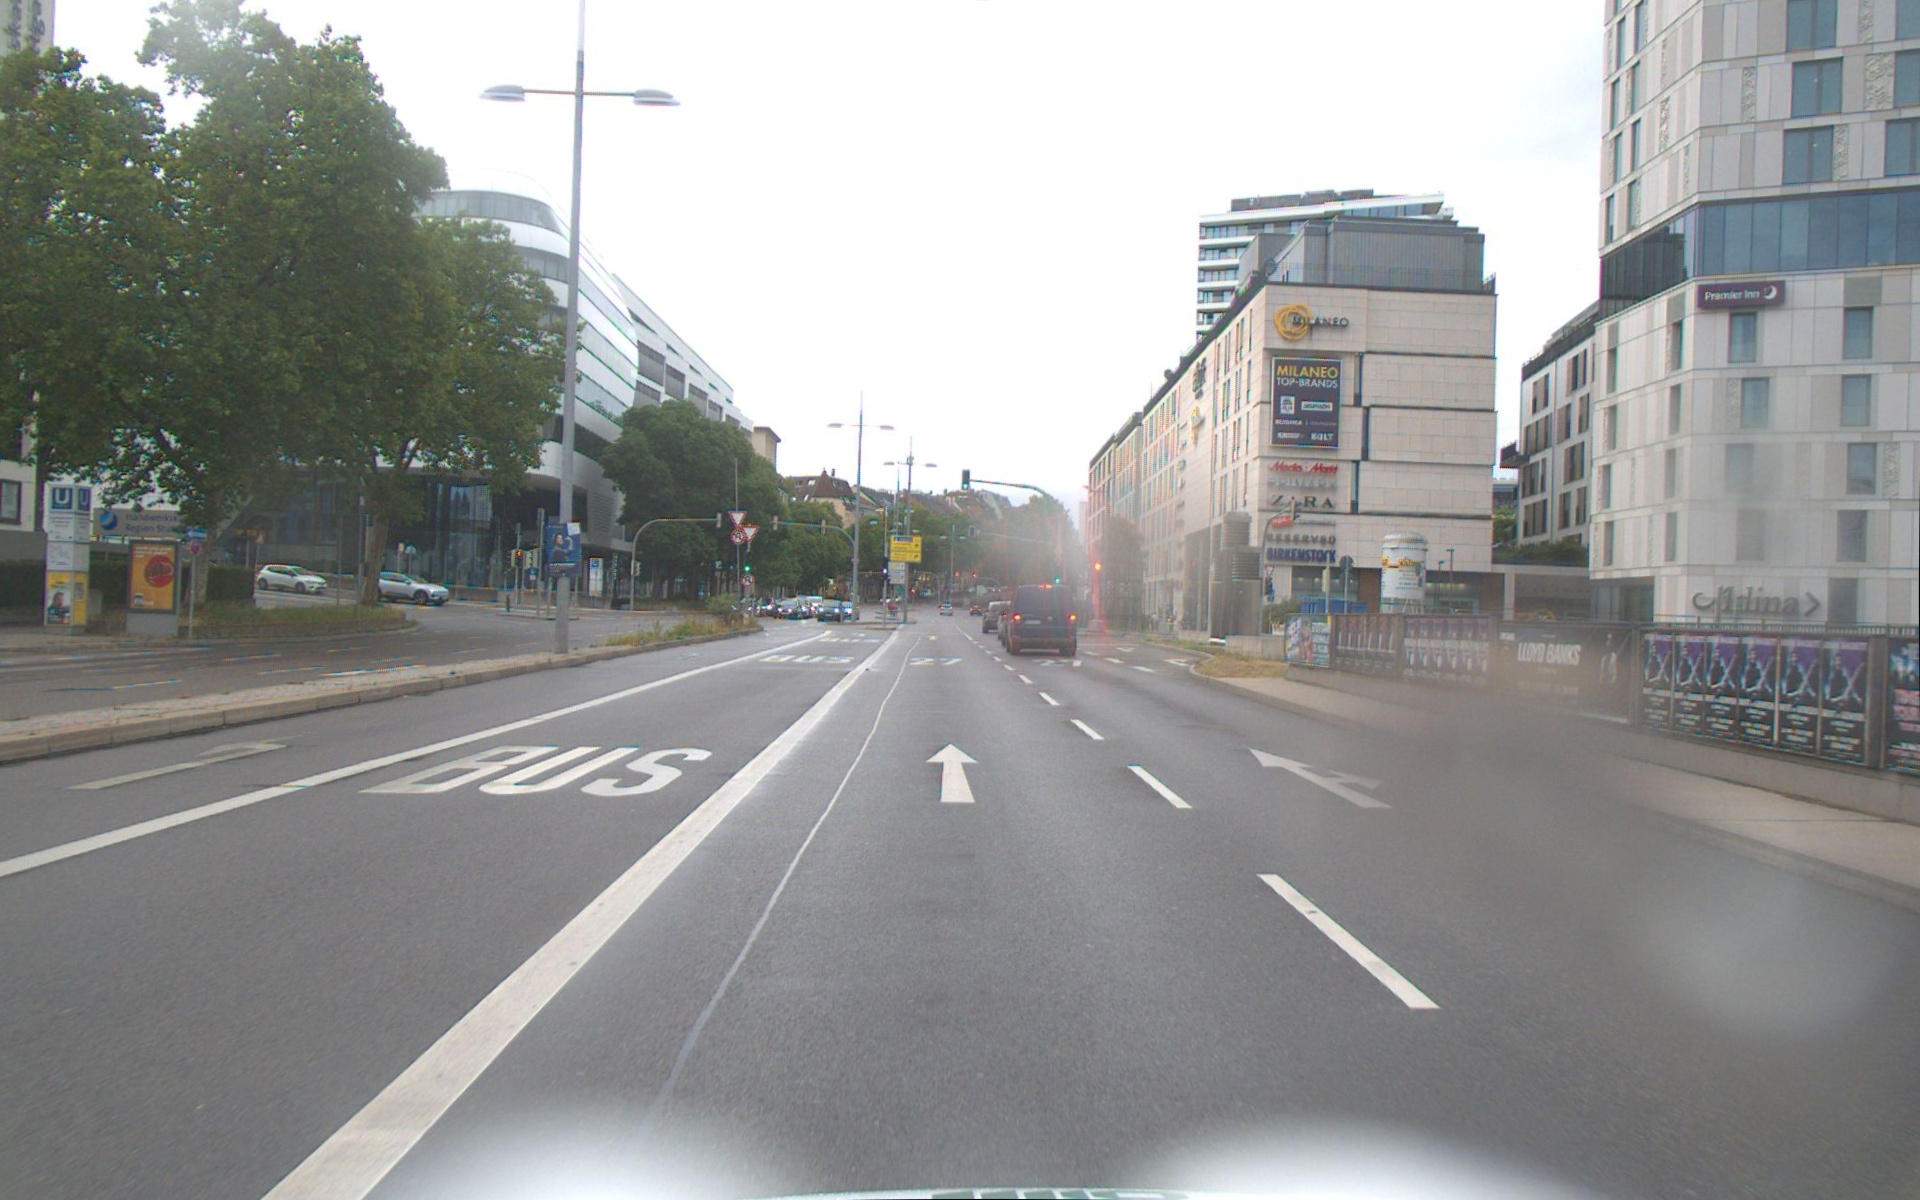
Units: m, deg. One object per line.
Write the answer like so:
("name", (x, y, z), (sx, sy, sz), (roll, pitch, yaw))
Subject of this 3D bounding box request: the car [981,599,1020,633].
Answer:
("car", (1.905, 0.750, 78.272), (1.704, 1.558, 3.813), (1, -1, 0))

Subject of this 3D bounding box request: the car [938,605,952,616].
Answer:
("car", (-2.211, 1.592, 245.689), (1.706, 1.558, 3.809), (1, 0, -7))

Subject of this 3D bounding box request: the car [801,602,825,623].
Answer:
("car", (-12.523, 1.054, 140.889), (1.707, 1.779, 3.539), (1, -1, -1))

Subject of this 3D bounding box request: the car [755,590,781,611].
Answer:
("car", (-15.411, 0.042, 132.724), (1.707, 1.586, 3.539), (1, -1, -1))

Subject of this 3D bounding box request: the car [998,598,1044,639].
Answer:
("car", (2.454, 0.746, 67.040), (1.689, 1.558, 3.813), (1, -1, 0))

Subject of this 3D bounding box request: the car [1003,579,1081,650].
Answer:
("car", (2.342, 0.369, 48.666), (1.991, 1.915, 5.042), (-2, 1, 0))

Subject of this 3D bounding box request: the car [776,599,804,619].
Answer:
("car", (-12.308, 0.639, 119.938), (1.708, 1.279, 3.539), (2, 1, -1))

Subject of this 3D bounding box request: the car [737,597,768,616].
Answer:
("car", (-15.041, 0.503, 119.826), (1.707, 1.352, 4.225), (1, -1, 0))

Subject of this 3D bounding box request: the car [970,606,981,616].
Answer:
("car", (2.373, 1.683, 257.974), (1.704, 1.558, 3.813), (1, -1, 0))

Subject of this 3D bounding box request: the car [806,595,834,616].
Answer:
("car", (-10.028, 0.393, 118.846), (1.707, 1.470, 3.394), (1, -1, -1))

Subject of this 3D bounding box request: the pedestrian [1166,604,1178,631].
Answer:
("pedestrian", (13.226, 1.100, 103.215), (0.600, 1.639, 0.818), (1, -1, -1))

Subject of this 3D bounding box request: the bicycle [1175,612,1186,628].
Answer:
("bicycle", (13.757, 1.250, 103.227), (0.440, 1.034, 1.742), (1, -1, -1))

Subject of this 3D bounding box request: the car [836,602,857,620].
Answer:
("car", (-9.425, 0.934, 138.083), (1.507, 1.503, 3.695), (1, -1, 0))

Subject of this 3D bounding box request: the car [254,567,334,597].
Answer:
("car", (-38.019, -1.022, 94.460), (3.902, 1.660, 1.896), (1, -1, 16))

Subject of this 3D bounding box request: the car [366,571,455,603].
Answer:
("car", (-30.541, -0.726, 91.975), (4.406, 1.660, 1.896), (1, -1, 16))

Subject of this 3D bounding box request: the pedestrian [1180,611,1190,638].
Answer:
("pedestrian", (14.027, 1.522, 103.155), (0.539, 1.639, 0.698), (1, -1, -1))
